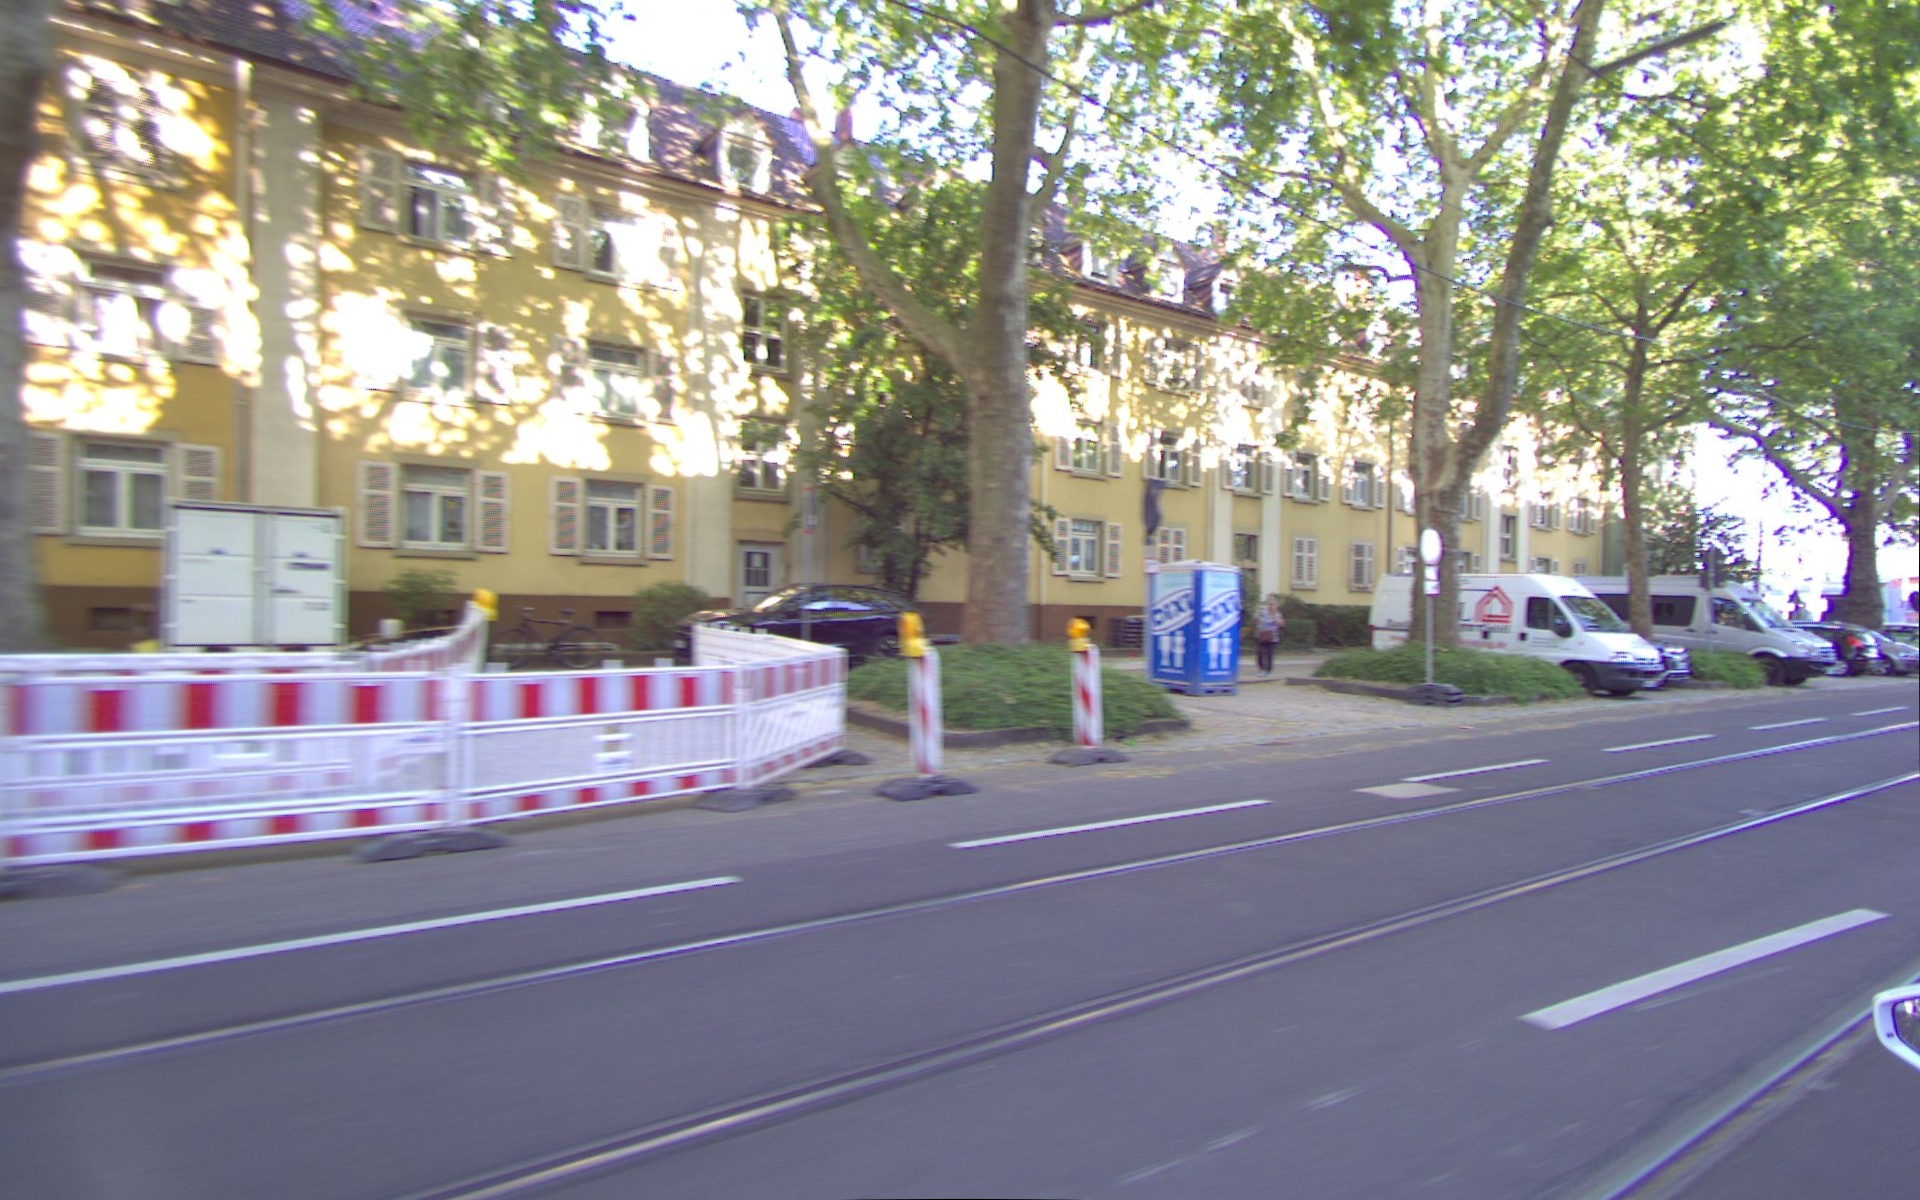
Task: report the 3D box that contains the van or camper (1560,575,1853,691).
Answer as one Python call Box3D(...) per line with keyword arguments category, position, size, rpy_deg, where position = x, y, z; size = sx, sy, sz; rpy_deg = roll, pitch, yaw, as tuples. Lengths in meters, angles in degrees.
Box3D(category="van or camper", position=(19.287, 0.724, 26.294), size=(2.245, 2.679, 5.689), rpy_deg=(1, 1, -33))

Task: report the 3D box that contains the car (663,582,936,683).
Box3D(category="car", position=(-2.819, 0.541, 17.913), size=(4.466, 1.592, 1.781), rpy_deg=(1, 1, -30))

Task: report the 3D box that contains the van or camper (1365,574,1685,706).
Box3D(category="van or camper", position=(11.647, 0.694, 21.209), size=(2.243, 2.411, 5.475), rpy_deg=(1, 1, -30))

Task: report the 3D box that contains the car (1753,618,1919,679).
Box3D(category="car", position=(27.918, 1.491, 31.875), size=(1.632, 1.673, 3.964), rpy_deg=(1, 1, -32))

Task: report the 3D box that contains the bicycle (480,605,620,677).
Box3D(category="bicycle", position=(-6.863, 0.671, 16.857), size=(2.088, 1.156, 0.622), rpy_deg=(1, 0, -31))

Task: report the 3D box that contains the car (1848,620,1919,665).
Box3D(category="car", position=(37.550, 1.675, 39.119), size=(1.946, 1.693, 4.138), rpy_deg=(1, -1, -37))

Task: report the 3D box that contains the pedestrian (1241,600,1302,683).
Box3D(category="pedestrian", position=(6.366, 0.838, 20.555), size=(0.877, 1.634, 0.758), rpy_deg=(1, 1, -26))

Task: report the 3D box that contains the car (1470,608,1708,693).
Box3D(category="car", position=(14.073, 1.061, 22.671), size=(1.946, 1.693, 4.138), rpy_deg=(1, -1, -37))

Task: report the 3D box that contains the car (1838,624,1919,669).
Box3D(category="car", position=(35.200, 1.737, 37.008), size=(1.632, 1.535, 3.964), rpy_deg=(1, 1, -32))

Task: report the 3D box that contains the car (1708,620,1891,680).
Box3D(category="car", position=(25.539, 1.477, 30.703), size=(1.632, 1.535, 3.964), rpy_deg=(1, 1, -32))

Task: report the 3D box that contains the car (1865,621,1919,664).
Box3D(category="car", position=(39.483, 1.752, 40.501), size=(1.946, 1.693, 4.138), rpy_deg=(1, -1, -37))
